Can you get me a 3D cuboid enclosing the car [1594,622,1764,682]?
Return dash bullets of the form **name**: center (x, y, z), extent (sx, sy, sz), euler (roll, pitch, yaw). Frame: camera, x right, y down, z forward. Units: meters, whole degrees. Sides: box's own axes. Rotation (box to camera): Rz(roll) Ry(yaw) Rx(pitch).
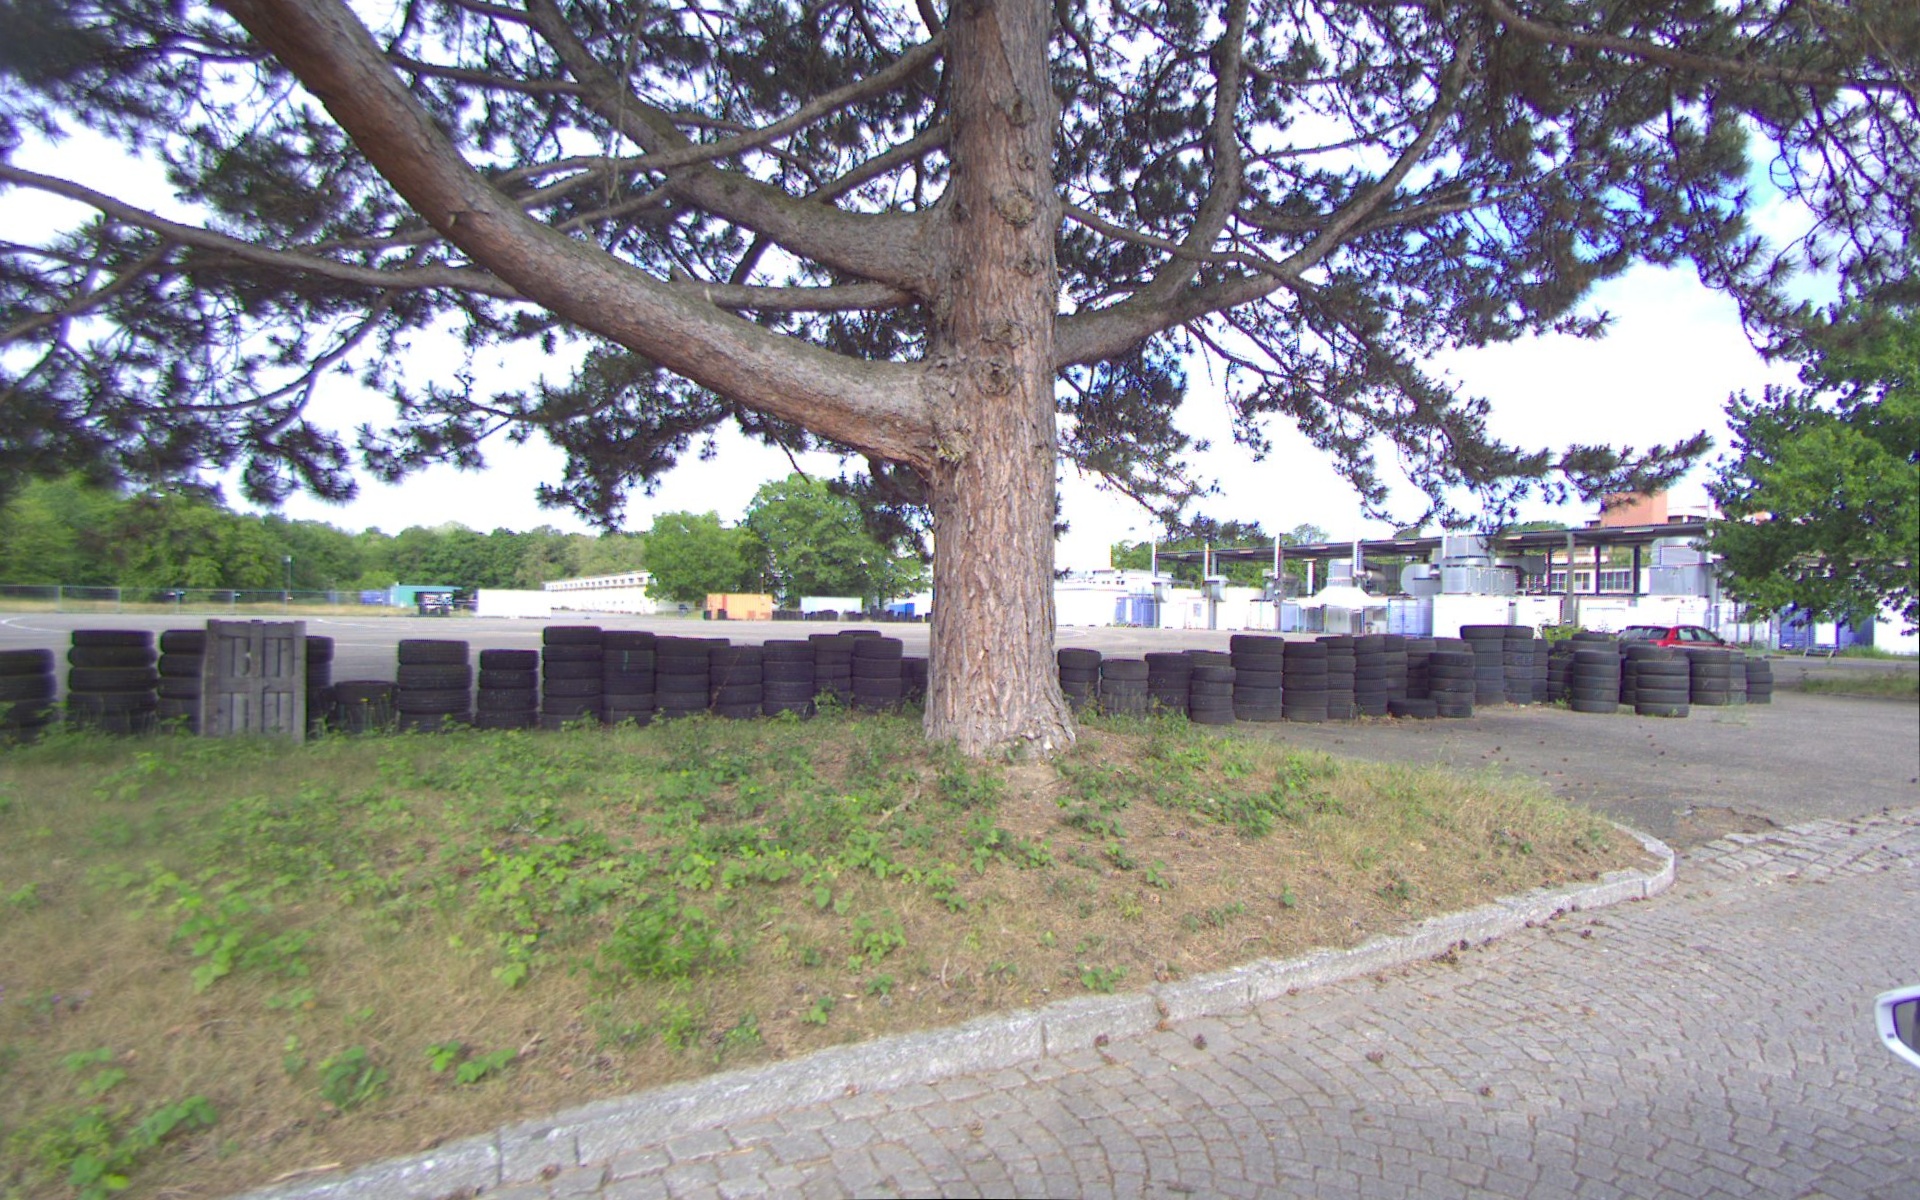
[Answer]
- **car**: center (18.833, 1.340, 26.308), extent (4.161, 1.451, 1.819), euler (1, 0, -25)
